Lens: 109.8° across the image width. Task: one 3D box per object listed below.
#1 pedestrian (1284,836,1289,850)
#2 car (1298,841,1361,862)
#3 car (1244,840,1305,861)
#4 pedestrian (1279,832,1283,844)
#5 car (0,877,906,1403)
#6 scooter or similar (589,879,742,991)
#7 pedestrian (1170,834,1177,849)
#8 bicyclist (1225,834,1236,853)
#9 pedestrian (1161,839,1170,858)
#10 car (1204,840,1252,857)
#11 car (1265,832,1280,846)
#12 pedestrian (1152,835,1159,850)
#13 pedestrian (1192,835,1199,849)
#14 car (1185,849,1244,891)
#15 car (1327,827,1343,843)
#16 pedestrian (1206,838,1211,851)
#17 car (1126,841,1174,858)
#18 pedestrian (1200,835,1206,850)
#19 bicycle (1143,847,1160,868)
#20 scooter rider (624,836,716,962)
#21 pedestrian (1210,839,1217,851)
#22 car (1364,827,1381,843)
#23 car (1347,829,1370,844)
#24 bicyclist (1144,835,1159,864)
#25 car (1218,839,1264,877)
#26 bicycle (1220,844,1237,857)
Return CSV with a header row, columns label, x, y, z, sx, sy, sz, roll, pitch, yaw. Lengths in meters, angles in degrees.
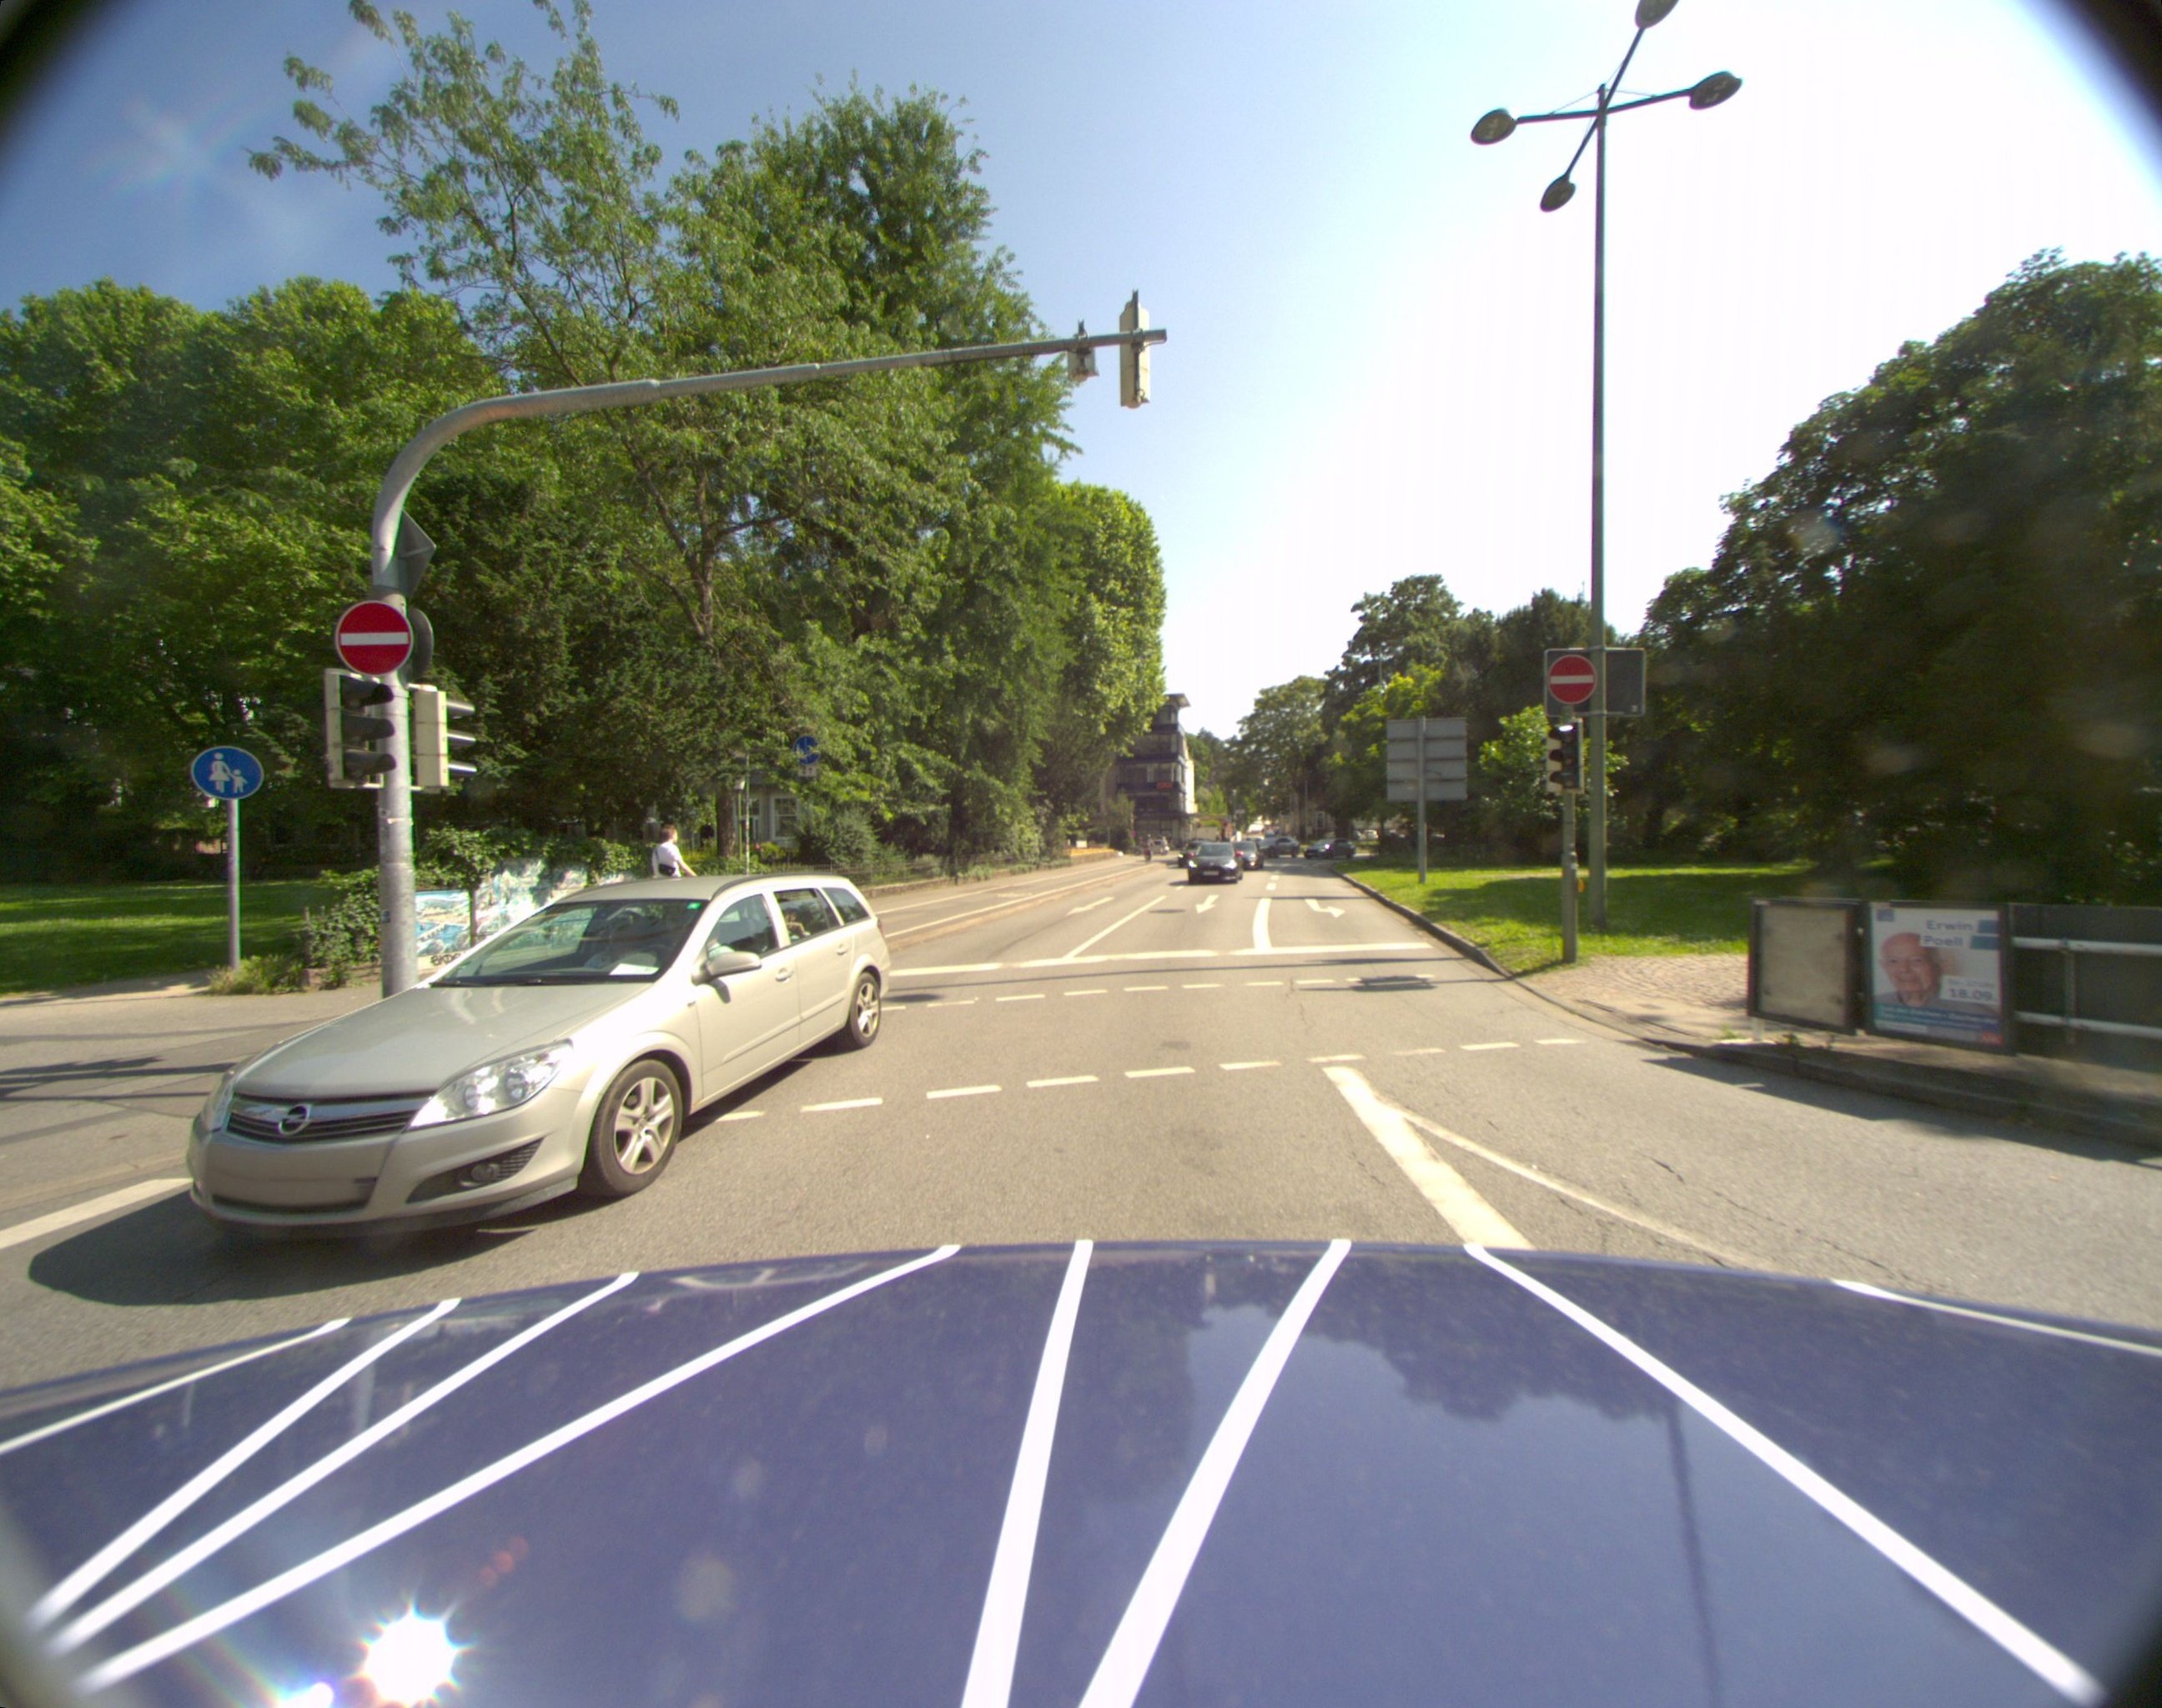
label,x,y,z,sx,sy,sz,roll,pitch,yaw
pedestrian,26.653,-1.418,98.349,0.601,1.695,0.605,-1,2,13
car,17.532,-0.207,53.503,4.558,1.421,1.937,-1,2,-36
car,14.230,-0.273,55.840,4.558,1.421,1.937,-1,2,-38
pedestrian,28.593,-2.256,108.744,0.601,1.695,0.605,-1,2,14
car,-2.759,1.005,4.741,1.710,1.513,4.409,-1,1,8
scooter or similar,-5.676,1.047,10.502,0.819,1.291,1.698,1,2,20
pedestrian,10.267,-1.383,84.010,0.701,1.695,0.603,-1,2,14
bicyclist,12.740,-0.898,64.574,0.709,1.604,0.733,0,2,31
pedestrian,7.612,-0.528,68.233,0.710,1.663,0.535,-1,2,11
car,14.157,-0.532,73.380,4.412,1.545,1.685,-1,1,8
car,24.949,-1.970,99.257,1.848,1.777,4.003,-1,1,13
pedestrian,8.276,-1.299,84.157,0.653,1.695,0.646,-1,2,10
pedestrian,13.147,-1.378,87.383,0.601,1.695,0.605,-1,2,19
car,5.009,0.549,28.143,1.808,1.443,3.958,0,0,15
car,32.700,-2.438,98.047,1.848,2.002,4.004,0,1,17
pedestrian,16.181,-1.190,96.501,0.601,1.695,0.605,0,1,14
car,6.493,-0.438,71.417,4.412,1.545,1.685,-1,1,8
pedestrian,14.257,-1.338,88.580,0.601,1.695,0.605,-1,2,19
bicycle,4.107,0.190,44.131,0.758,1.114,2.003,0,3,13
scooter rider,-5.668,0.587,10.515,0.822,1.662,0.710,1,3,20
pedestrian,17.670,-1.263,101.300,0.601,1.588,0.605,0,2,35
car,37.700,-2.494,98.355,1.848,2.002,4.004,0,1,17
car,32.043,-2.021,87.912,1.849,1.652,4.002,-1,1,11
bicyclist,4.085,-0.261,44.275,0.765,1.627,0.944,0,3,12
car,8.085,0.145,38.119,1.887,1.675,4.145,1,3,16
bicycle,12.545,-0.316,64.613,0.709,1.048,2.211,0,2,31
